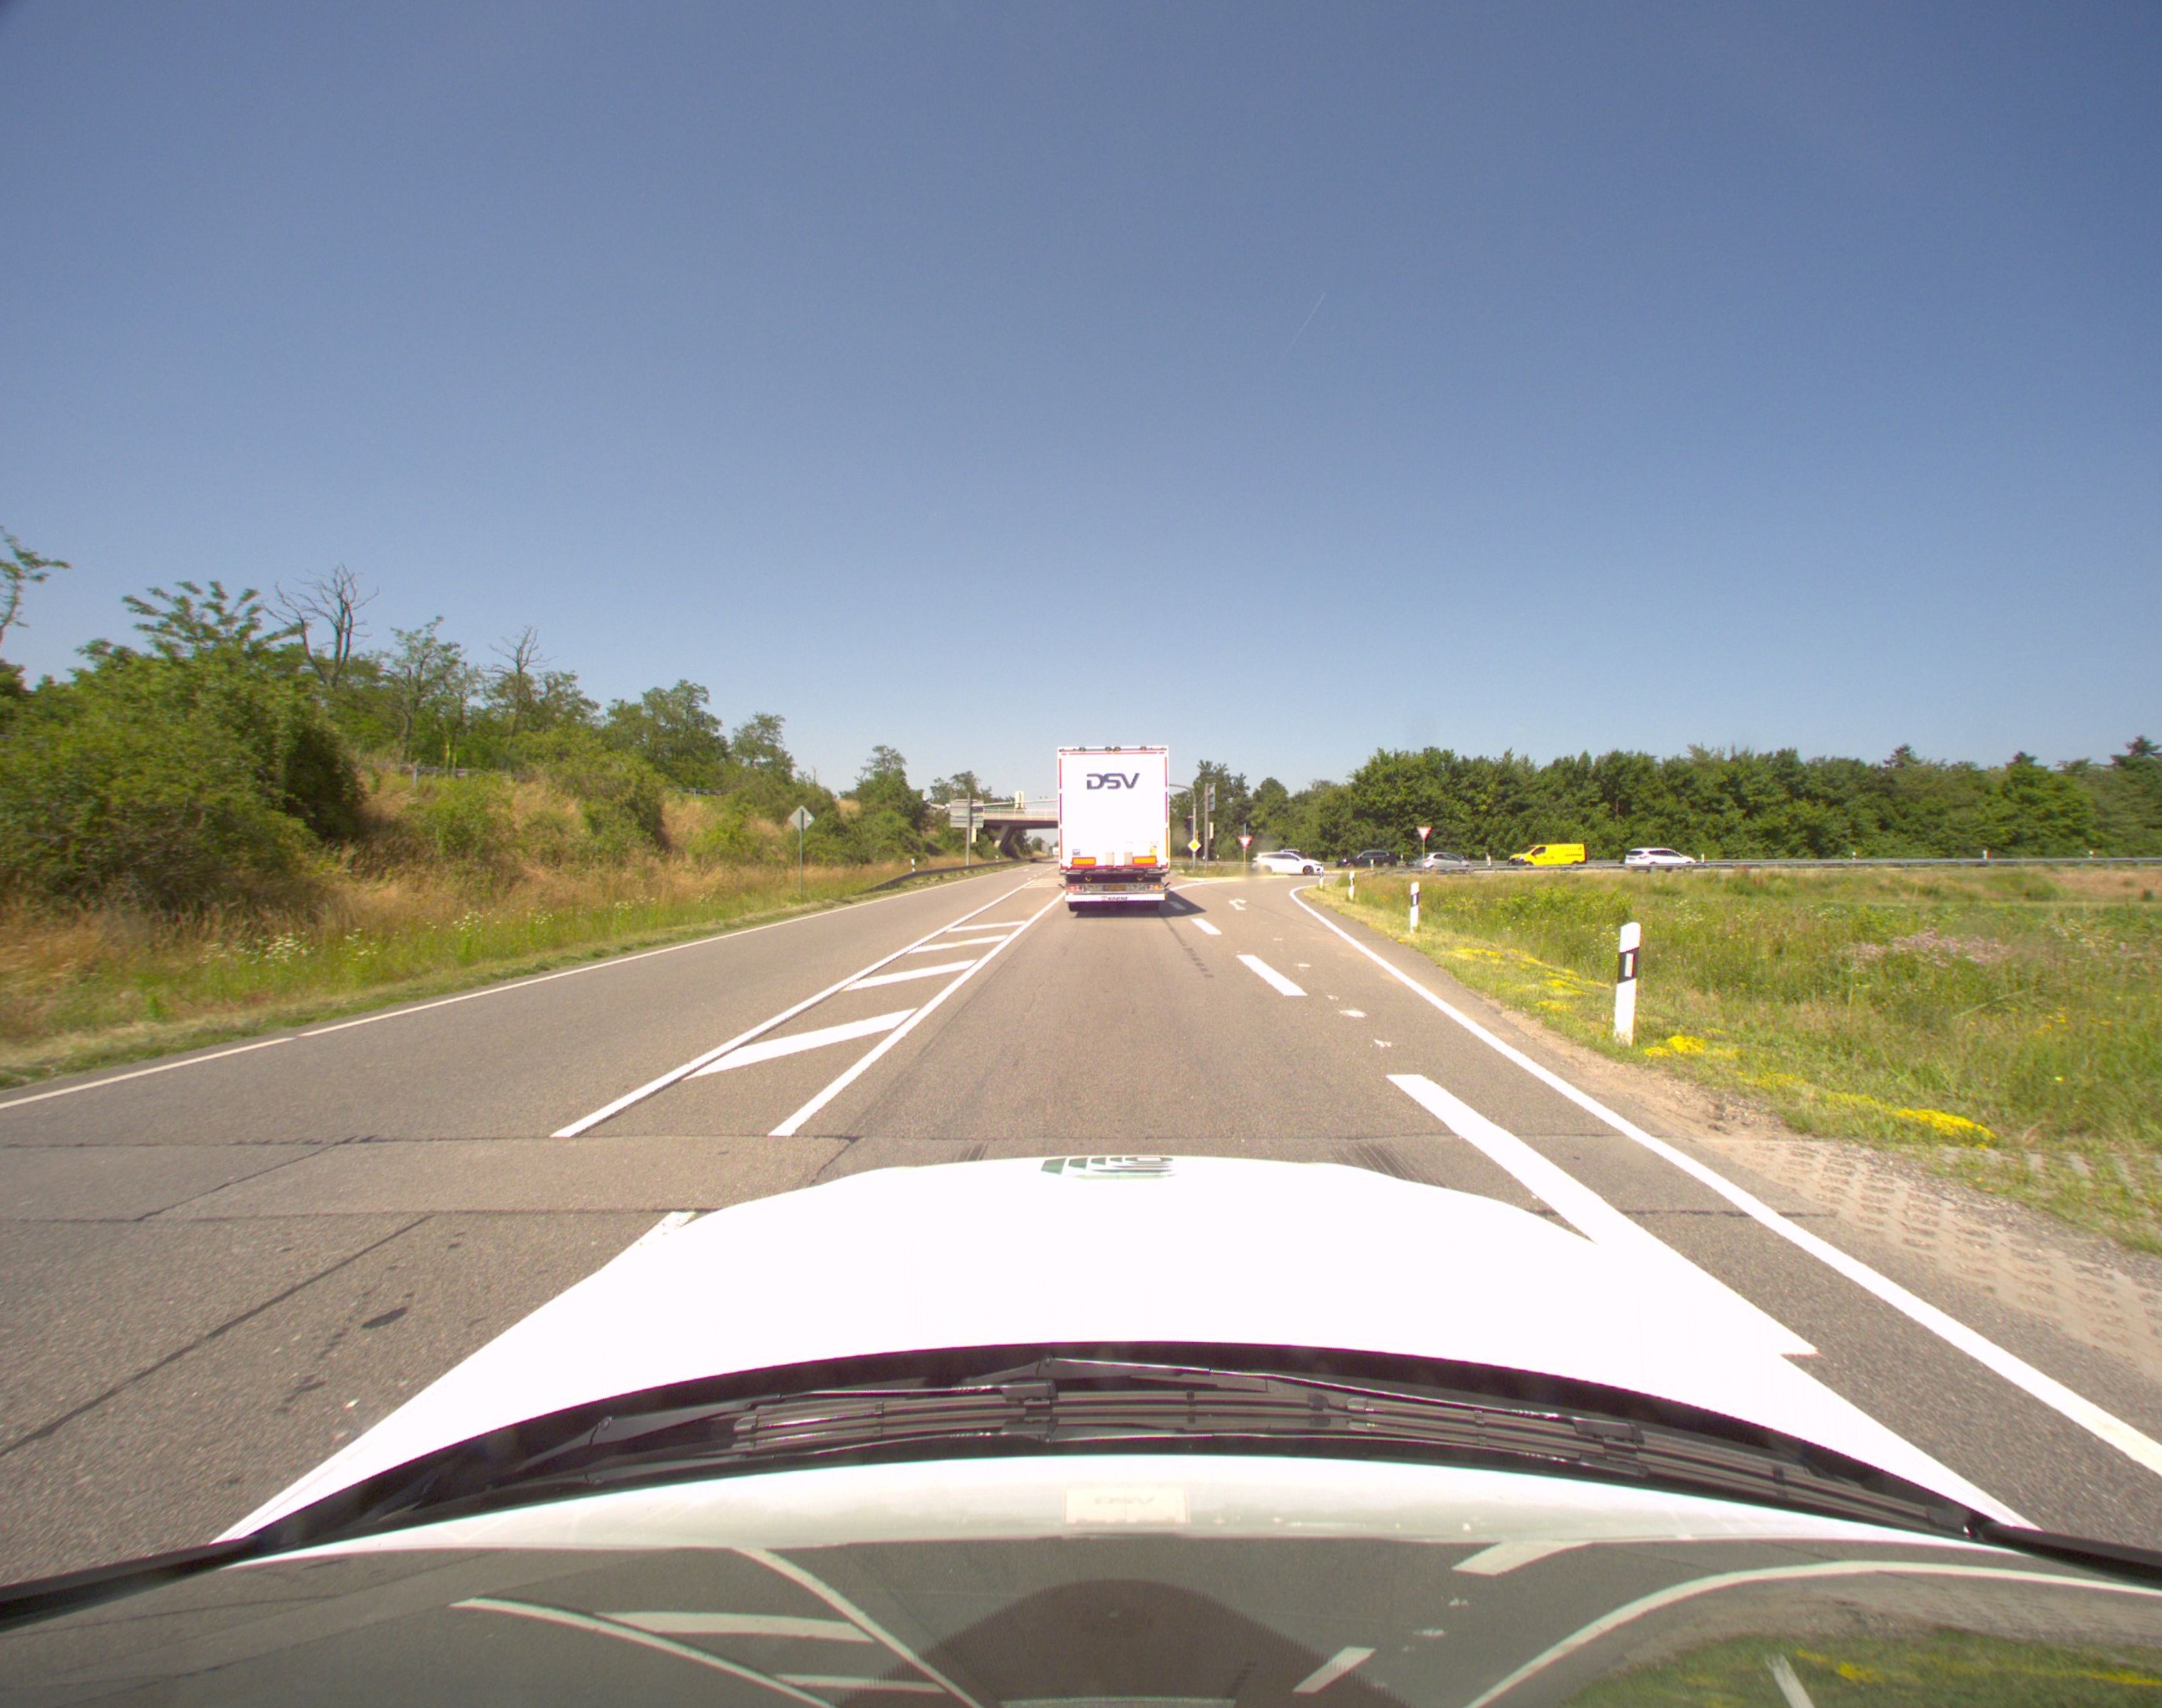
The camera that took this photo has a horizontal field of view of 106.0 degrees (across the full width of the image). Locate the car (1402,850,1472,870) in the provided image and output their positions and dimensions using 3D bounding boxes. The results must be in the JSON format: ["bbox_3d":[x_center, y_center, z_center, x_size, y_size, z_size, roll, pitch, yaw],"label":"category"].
[{"bbox_3d":[27.468,0.484,63.034,4.654,1.514,1.858,-1,-1,9],"label":"car"}]

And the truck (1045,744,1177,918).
[{"bbox_3d":[0.862,-0.510,23.525,2.976,3.942,9.880,0,0,2],"label":"truck"}]

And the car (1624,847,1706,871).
[{"bbox_3d":[39.448,0.318,55.011,4.461,1.567,1.736,0,-1,-5],"label":"car"}]

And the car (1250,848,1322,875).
[{"bbox_3d":[13.437,0.494,53.361,4.435,1.567,1.746,-2,0,15],"label":"car"}]

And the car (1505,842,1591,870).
[{"bbox_3d":[34.887,0.144,60.955,5.299,2.014,2.002,0,-1,3],"label":"car"}]

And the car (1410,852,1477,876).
[{"bbox_3d":[24.066,0.641,54.154,3.677,1.567,1.736,0,-1,-6],"label":"car"}]

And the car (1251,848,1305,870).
[{"bbox_3d":[15.466,0.381,64.131,3.963,1.640,1.845,-1,-1,8],"label":"car"}]

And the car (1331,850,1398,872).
[{"bbox_3d":[21.490,0.534,61.862,4.465,1.598,1.770,0,-1,5],"label":"car"}]
